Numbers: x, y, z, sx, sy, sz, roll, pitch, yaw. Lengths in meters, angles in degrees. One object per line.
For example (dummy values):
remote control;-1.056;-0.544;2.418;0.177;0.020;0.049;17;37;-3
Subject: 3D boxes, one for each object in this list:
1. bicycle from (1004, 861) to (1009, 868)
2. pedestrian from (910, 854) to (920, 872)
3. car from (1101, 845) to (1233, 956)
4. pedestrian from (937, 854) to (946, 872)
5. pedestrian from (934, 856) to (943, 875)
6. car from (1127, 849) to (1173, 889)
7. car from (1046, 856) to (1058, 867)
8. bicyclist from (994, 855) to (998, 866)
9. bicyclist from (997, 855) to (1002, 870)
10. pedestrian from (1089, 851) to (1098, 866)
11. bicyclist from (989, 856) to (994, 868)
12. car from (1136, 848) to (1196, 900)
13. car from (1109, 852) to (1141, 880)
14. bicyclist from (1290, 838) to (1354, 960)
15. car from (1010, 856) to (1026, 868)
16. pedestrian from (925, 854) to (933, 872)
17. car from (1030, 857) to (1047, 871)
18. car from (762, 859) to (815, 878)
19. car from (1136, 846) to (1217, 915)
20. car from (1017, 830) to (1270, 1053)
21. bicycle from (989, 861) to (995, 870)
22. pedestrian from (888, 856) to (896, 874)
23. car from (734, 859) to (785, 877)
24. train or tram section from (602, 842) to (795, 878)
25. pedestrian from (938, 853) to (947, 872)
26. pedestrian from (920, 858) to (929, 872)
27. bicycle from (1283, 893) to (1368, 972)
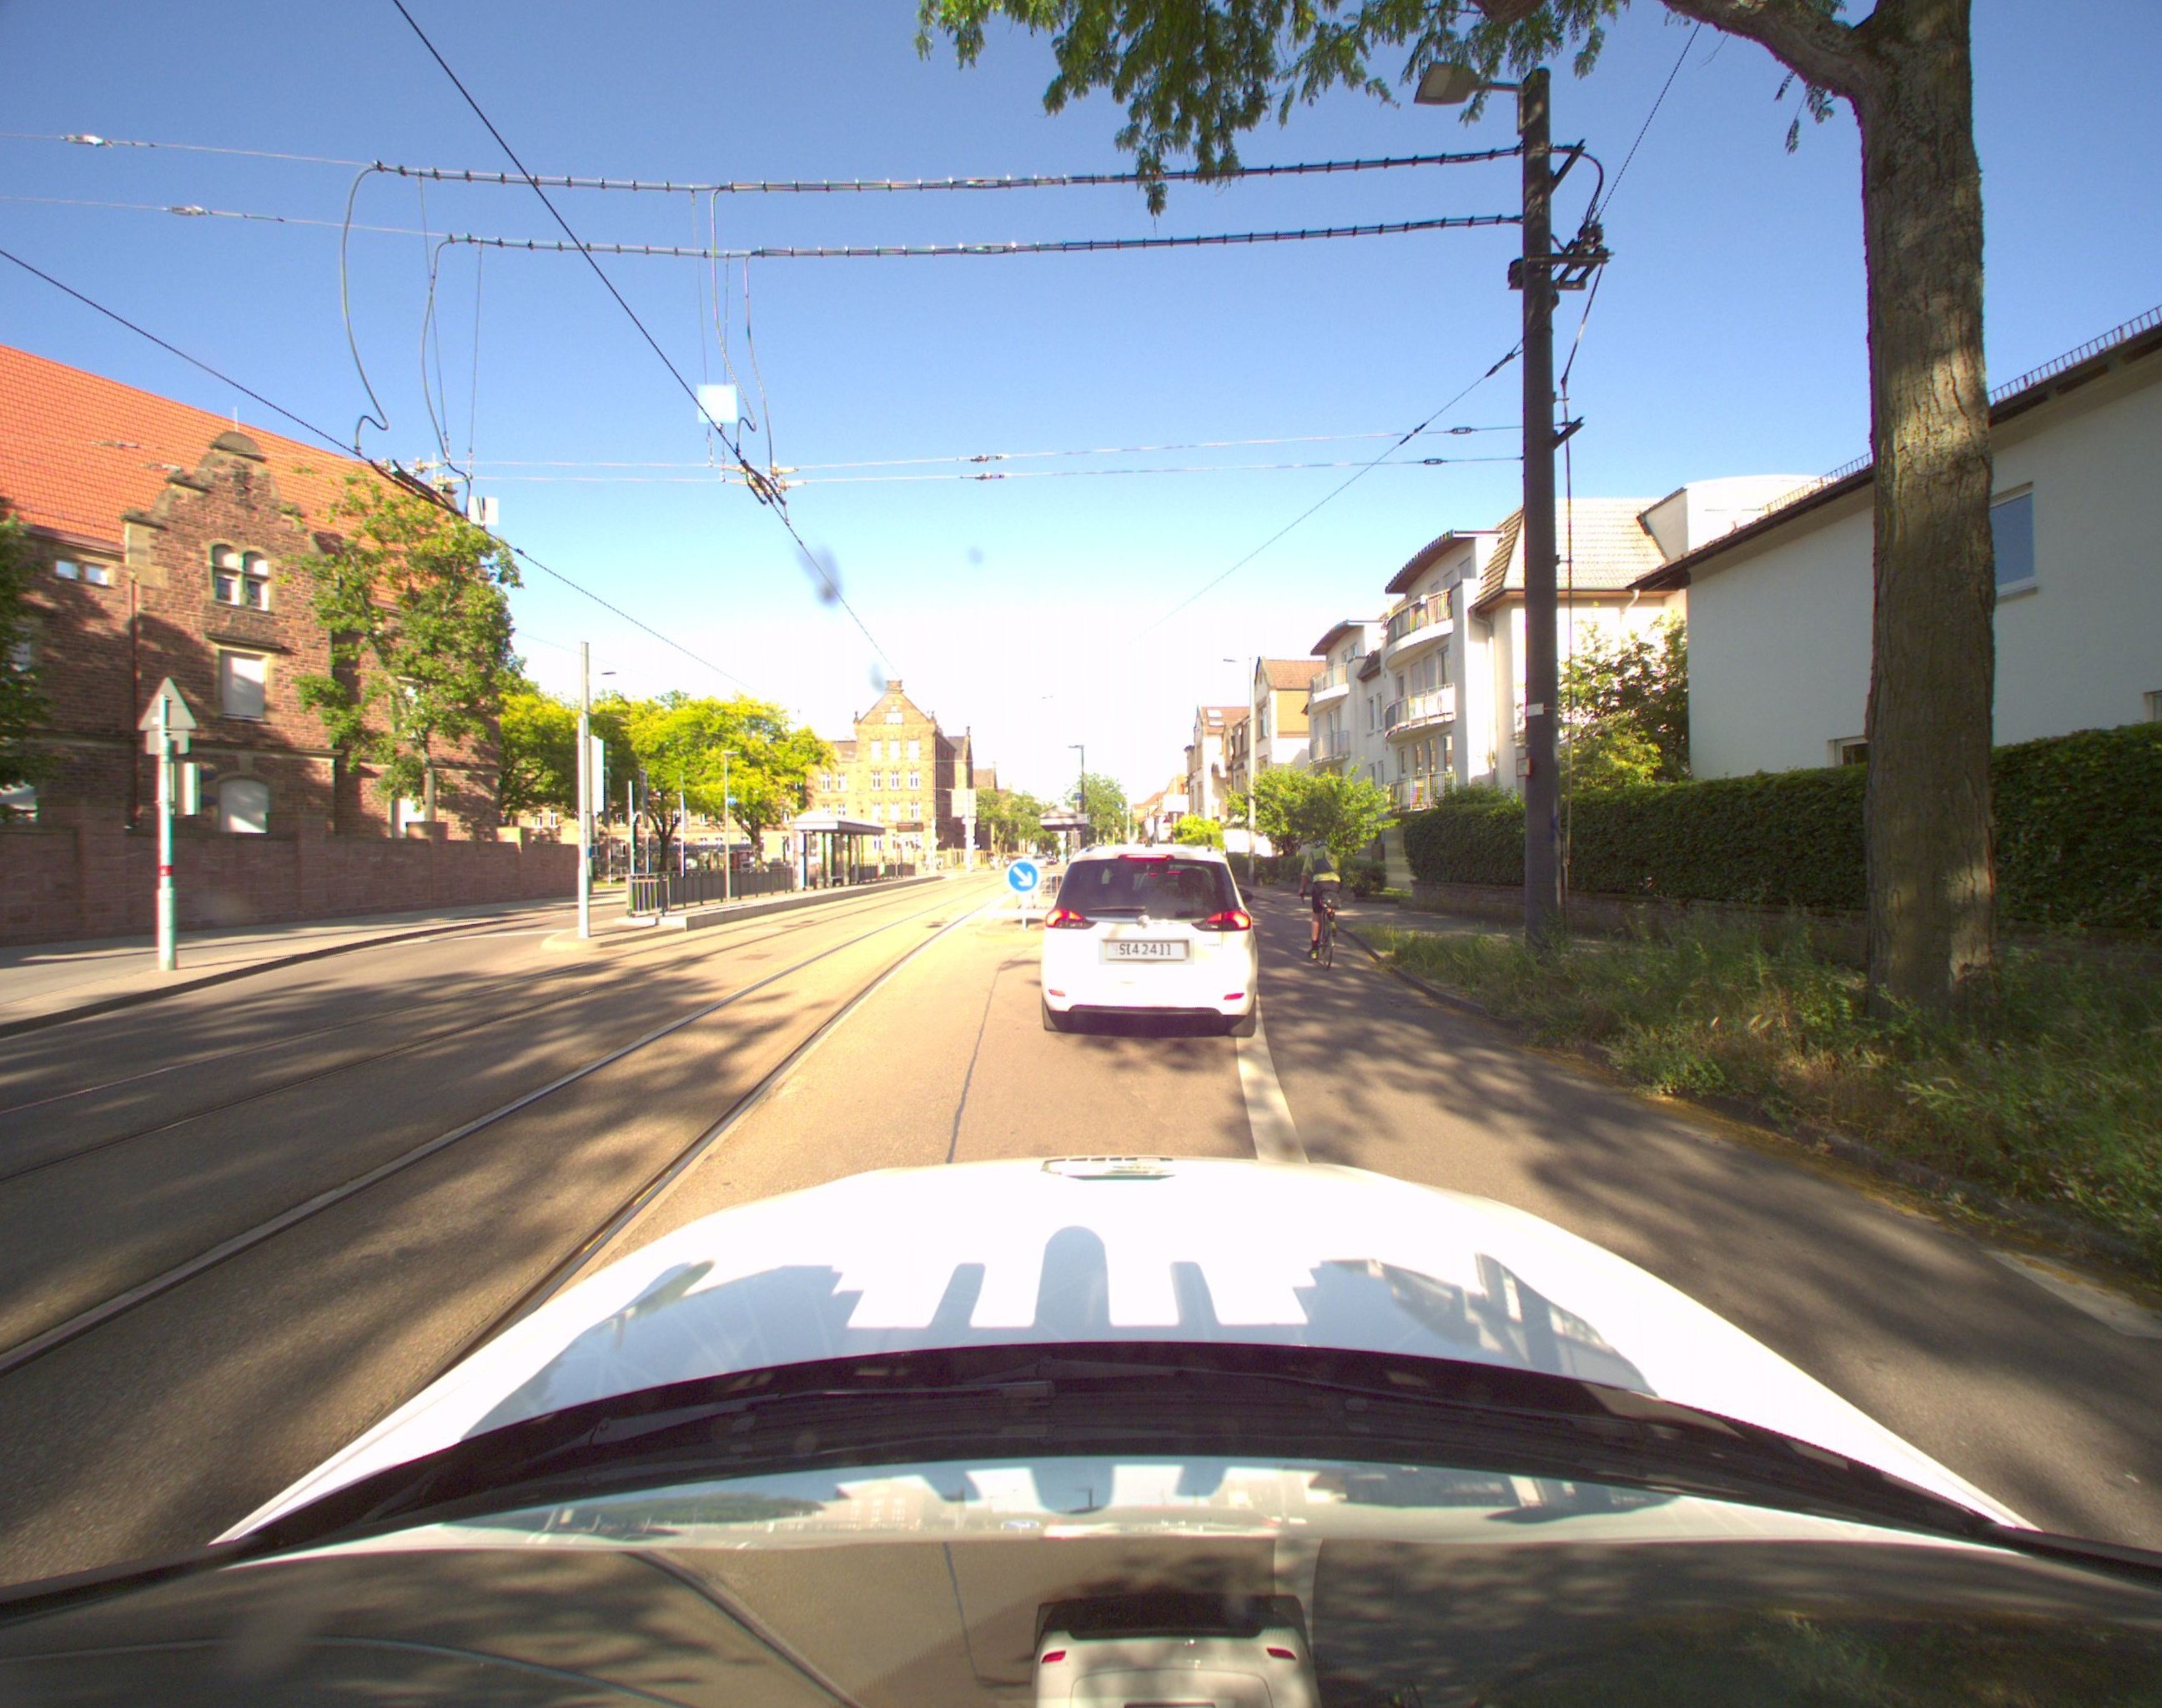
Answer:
bicycle;-10.141;1.438;110.919;0.485;0.971;1.406;0;-1;2
pedestrian;-18.222;1.009;89.629;0.802;1.901;0.747;-1;-1;16
car;1.559;0.687;13.847;1.896;1.597;4.010;-1;0;9
pedestrian;-15.686;1.035;91.305;0.799;2.014;0.714;0;-1;-27
pedestrian;-15.118;1.230;86.375;0.795;2.014;1.042;0;-1;-12
car;2.995;0.618;36.168;1.899;1.661;4.003;-1;0;3
car;-4.611;1.190;129.375;1.740;1.716;4.001;0;-1;2
bicyclist;-11.579;0.894;110.625;0.529;1.477;0.572;0;-1;1
bicyclist;-10.752;1.164;107.428;0.496;2.014;0.572;0;-1;1
pedestrian;1.576;0.581;101.221;0.747;1.901;0.801;0;-1;-39
bicyclist;-11.044;0.993;100.502;0.529;1.477;0.572;0;-1;1
car;2.975;0.653;28.325;1.897;1.661;4.007;-1;0;6
car;2.840;0.754;53.161;1.901;1.661;4.000;-1;0;0
bicyclist;3.393;0.610;11.522;0.673;1.658;0.745;-1;0;1
car;-8.770;1.126;114.104;1.740;1.716;4.001;0;-1;2
pedestrian;-17.245;0.994;92.473;0.683;2.014;0.621;-1;-1;42
car;-5.125;1.197;99.324;1.740;1.716;4.001;0;-1;2
car;-25.449;1.244;70.948;3.976;1.630;1.817;0;-1;-2
car;2.620;0.638;21.668;1.896;1.624;4.010;-1;0;9
car;0.771;0.663;8.184;1.896;1.661;4.010;-1;0;9
bicycle;-11.030;1.400;100.649;0.507;1.077;1.739;0;-1;2
pedestrian;-19.404;1.144;83.728;0.768;1.774;0.717;0;-1;-15
car;-29.657;1.320;75.191;3.976;1.630;1.817;0;-1;-2
train or tram section;-37.848;0.583;81.122;17.346;3.154;3.344;-1;-1;-3
pedestrian;-14.556;0.873;85.493;0.796;2.014;0.717;0;-1;-15
pedestrian;-18.019;1.216;93.677;0.647;1.612;0.715;-1;-1;32
bicycle;3.394;1.059;11.487;0.673;0.925;1.886;-1;0;2
